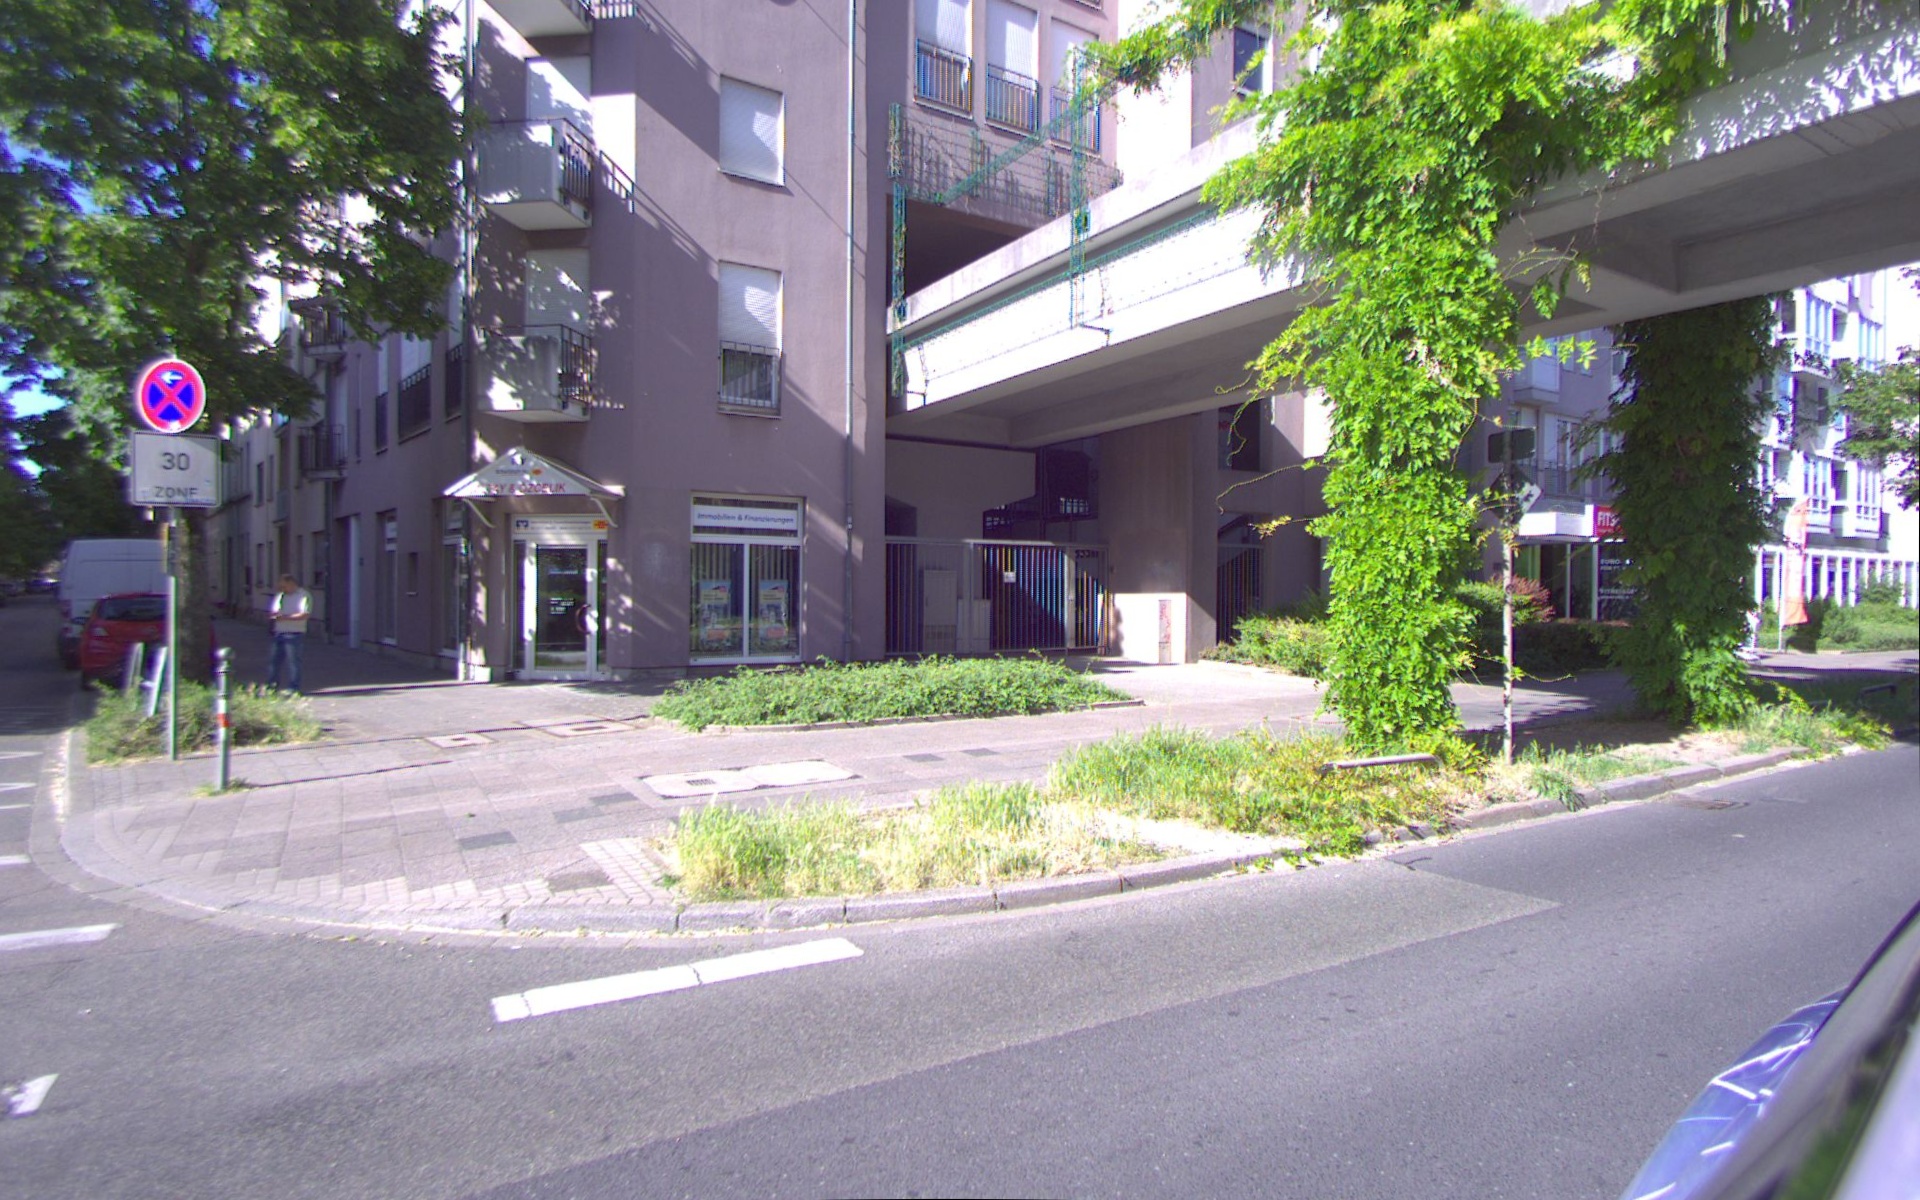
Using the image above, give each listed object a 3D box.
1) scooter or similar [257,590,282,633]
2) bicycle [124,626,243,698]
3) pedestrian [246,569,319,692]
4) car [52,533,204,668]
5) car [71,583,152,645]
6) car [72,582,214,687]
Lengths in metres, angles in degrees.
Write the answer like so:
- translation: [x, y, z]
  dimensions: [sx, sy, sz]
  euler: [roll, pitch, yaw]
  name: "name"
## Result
- translation: [-19.488, 0.300, 28.567]
  dimensions: [0.413, 1.161, 1.372]
  euler: [-2, 2, -41]
  name: "scooter or similar"
- translation: [-9.825, 0.765, 12.829]
  dimensions: [1.183, 0.833, 0.293]
  euler: [0, 1, -42]
  name: "bicycle"
- translation: [-8.933, 0.389, 13.360]
  dimensions: [0.621, 1.596, 0.532]
  euler: [0, 1, -7]
  name: "pedestrian"
- translation: [-17.493, -0.054, 21.172]
  dimensions: [2.183, 2.482, 5.084]
  euler: [0, 1, -43]
  name: "car"
- translation: [-23.976, 0.339, 28.581]
  dimensions: [1.666, 1.576, 3.816]
  euler: [0, 1, -41]
  name: "car"
- translation: [-13.527, 0.468, 16.720]
  dimensions: [1.663, 1.481, 3.994]
  euler: [0, 1, -41]
  name: "car"
